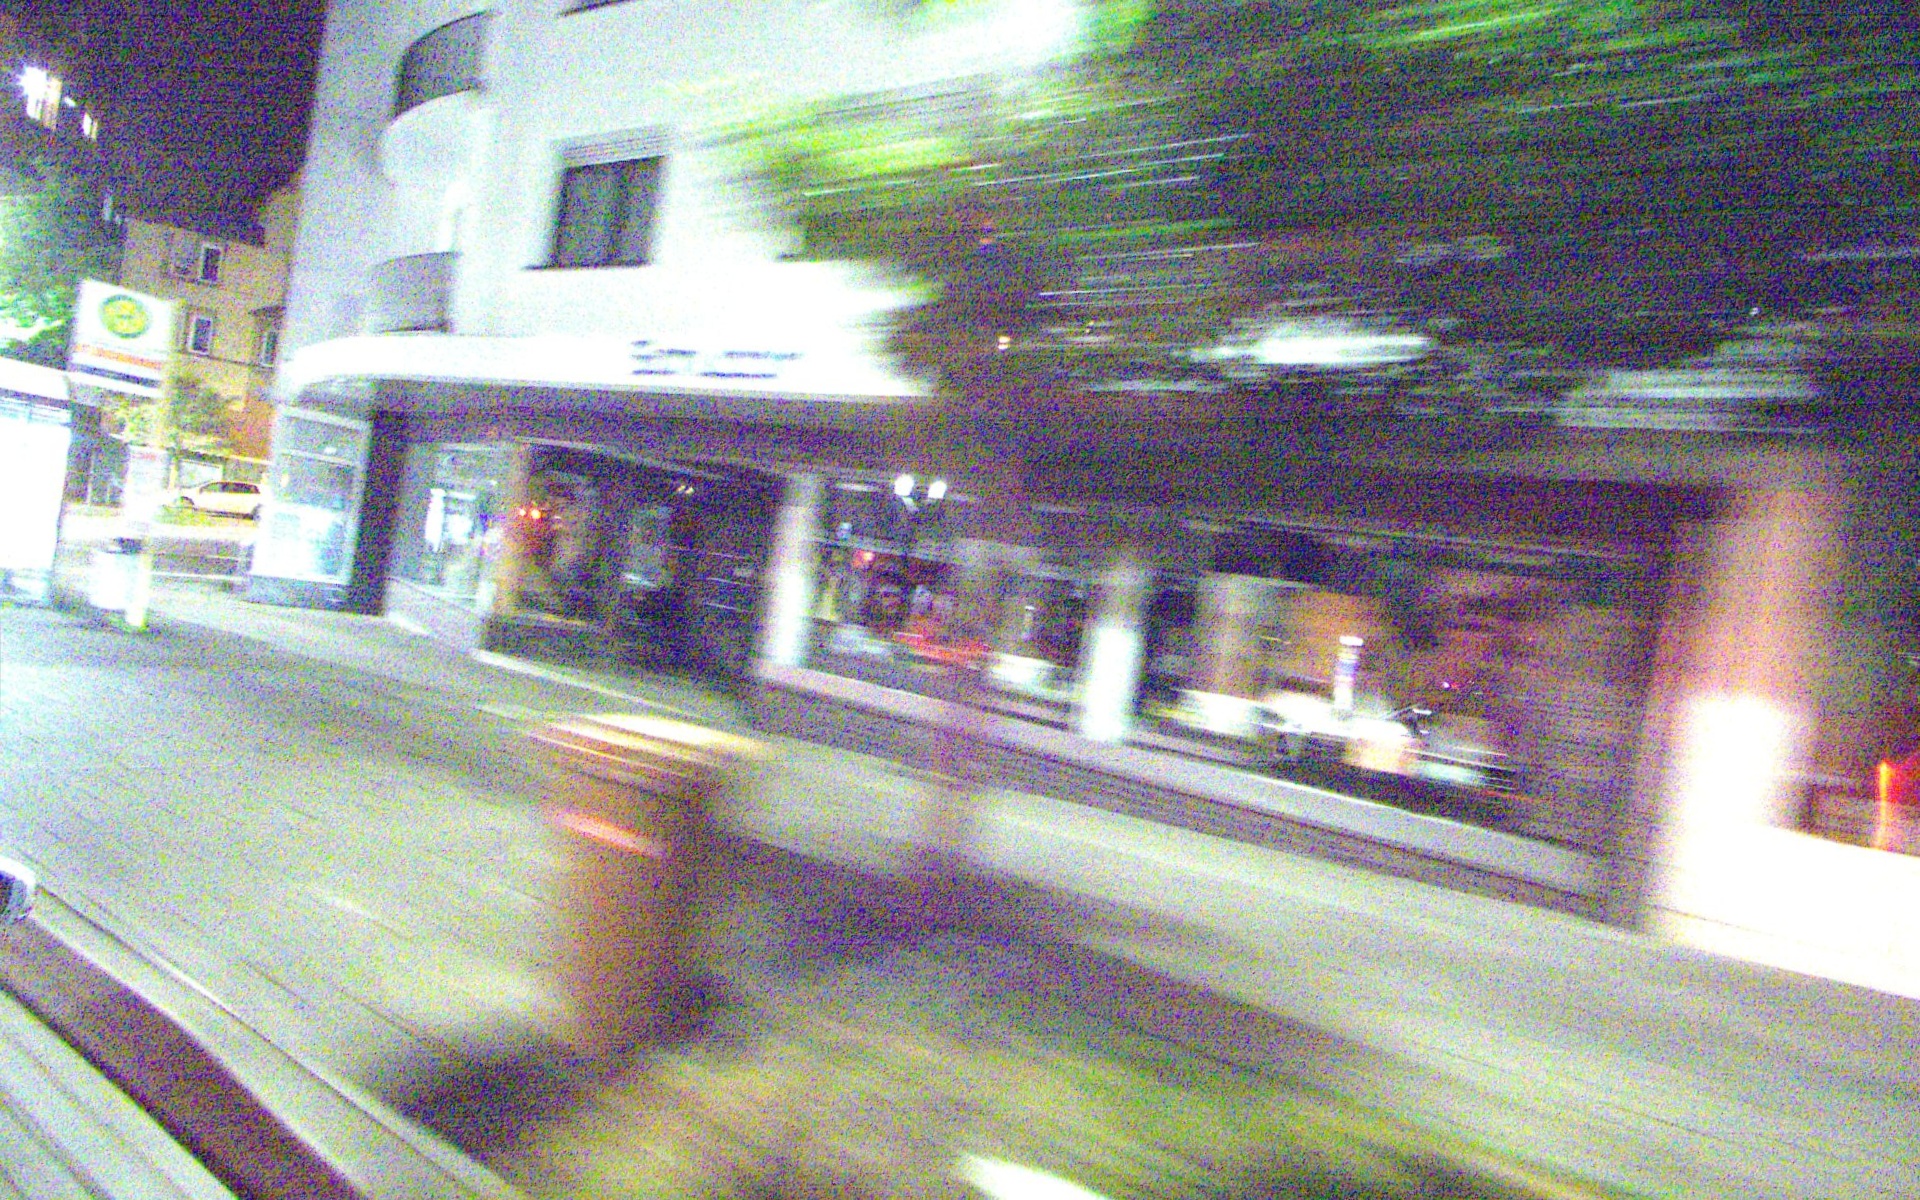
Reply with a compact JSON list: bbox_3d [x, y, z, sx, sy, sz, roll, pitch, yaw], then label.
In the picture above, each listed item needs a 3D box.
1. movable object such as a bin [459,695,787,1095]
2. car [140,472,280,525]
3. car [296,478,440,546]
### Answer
[{"bbox_3d":[-0.965,0.791,2.949,0.618,0.948,0.526,6,-1,21],"label":"movable object such as a bin"},{"bbox_3d":[-29.158,-3.917,39.210,1.798,1.472,4.035,8,3,39],"label":"car"},{"bbox_3d":[-24.765,-3.629,42.306,4.782,1.932,2.149,8,-2,-22],"label":"car"}]
